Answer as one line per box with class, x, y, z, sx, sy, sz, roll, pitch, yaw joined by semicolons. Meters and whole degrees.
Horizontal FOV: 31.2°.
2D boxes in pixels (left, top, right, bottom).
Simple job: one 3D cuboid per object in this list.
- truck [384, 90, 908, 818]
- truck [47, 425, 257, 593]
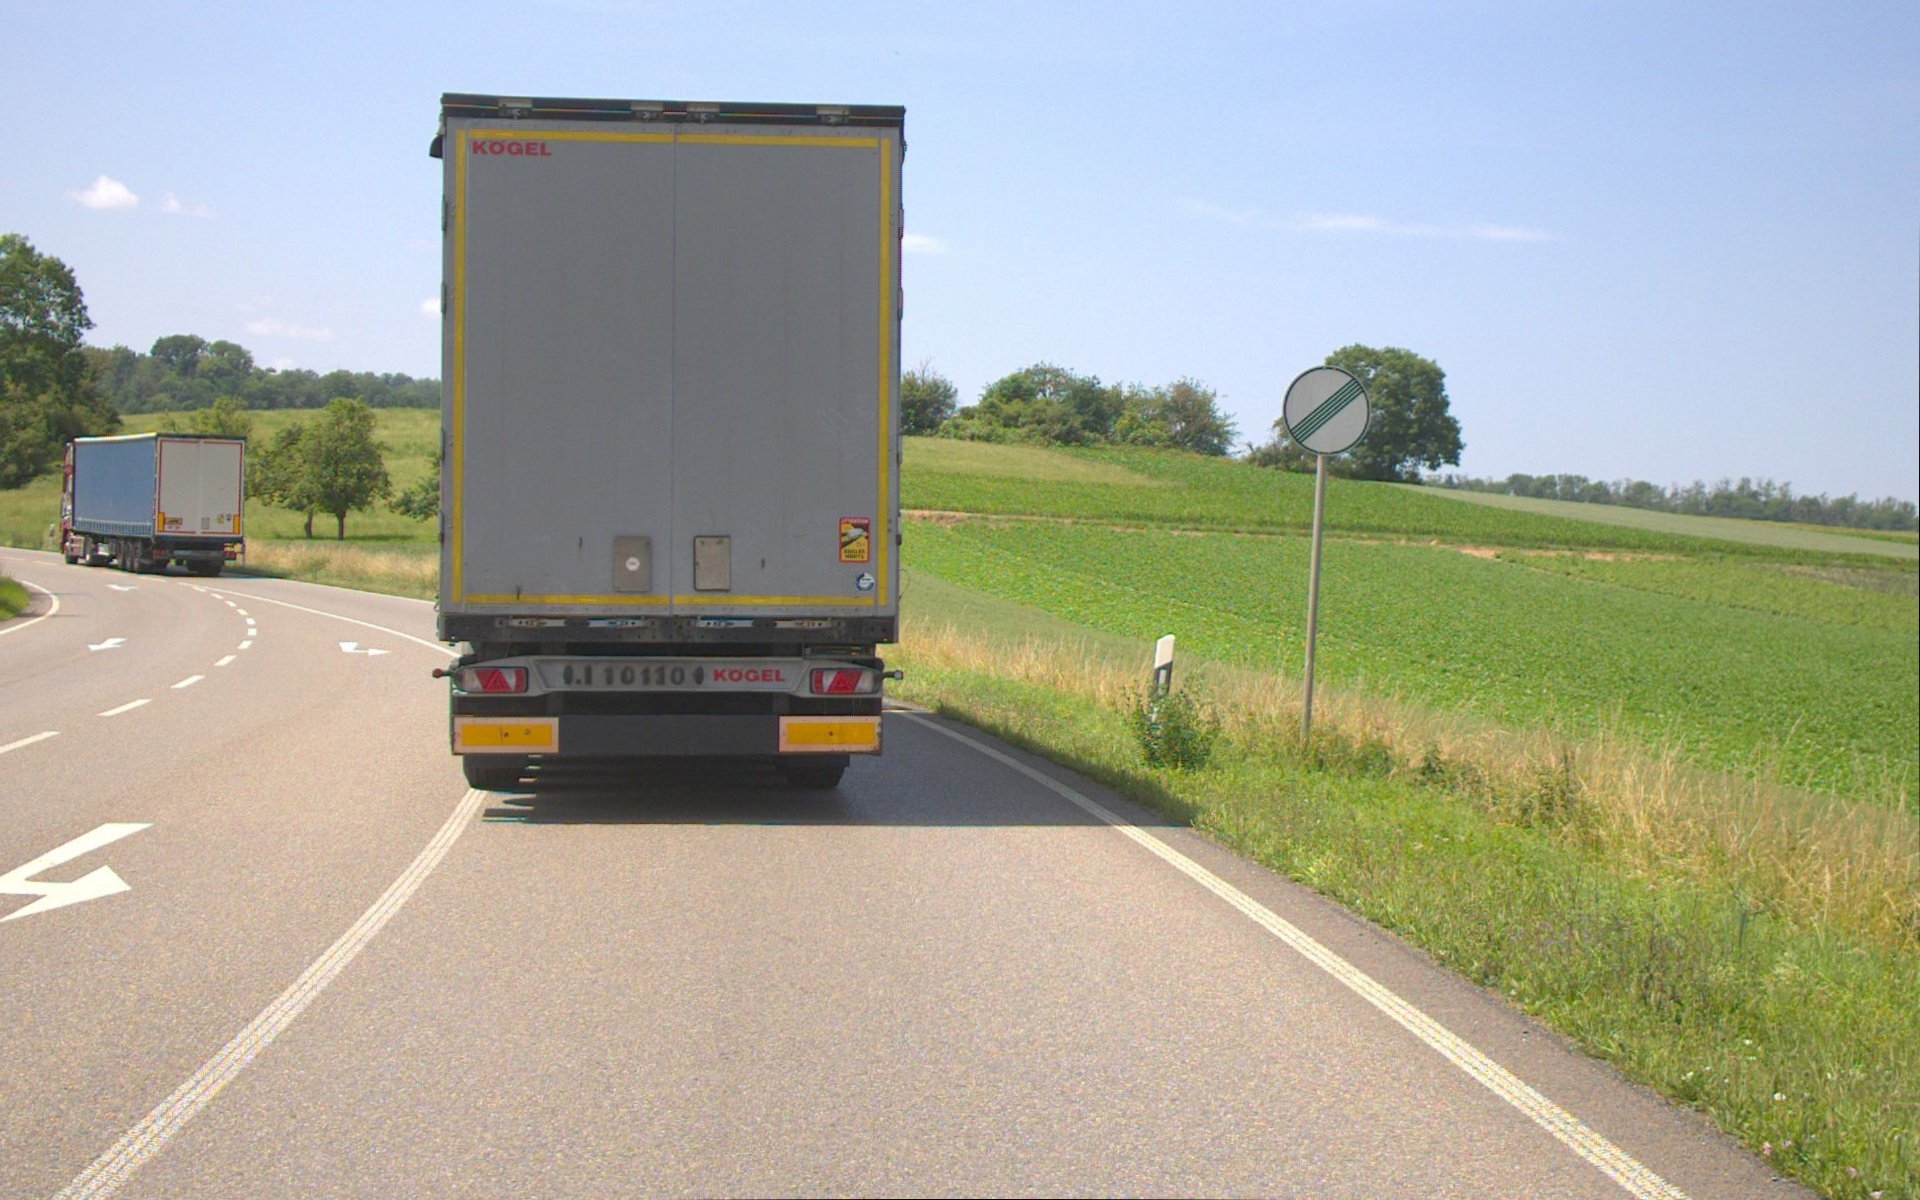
truck;-2.226;-0.854;23.577;2.807;3.932;9.593;1;1;-6
truck;-24.727;-2.806;104.331;2.960;4.568;16.320;3;1;-24
